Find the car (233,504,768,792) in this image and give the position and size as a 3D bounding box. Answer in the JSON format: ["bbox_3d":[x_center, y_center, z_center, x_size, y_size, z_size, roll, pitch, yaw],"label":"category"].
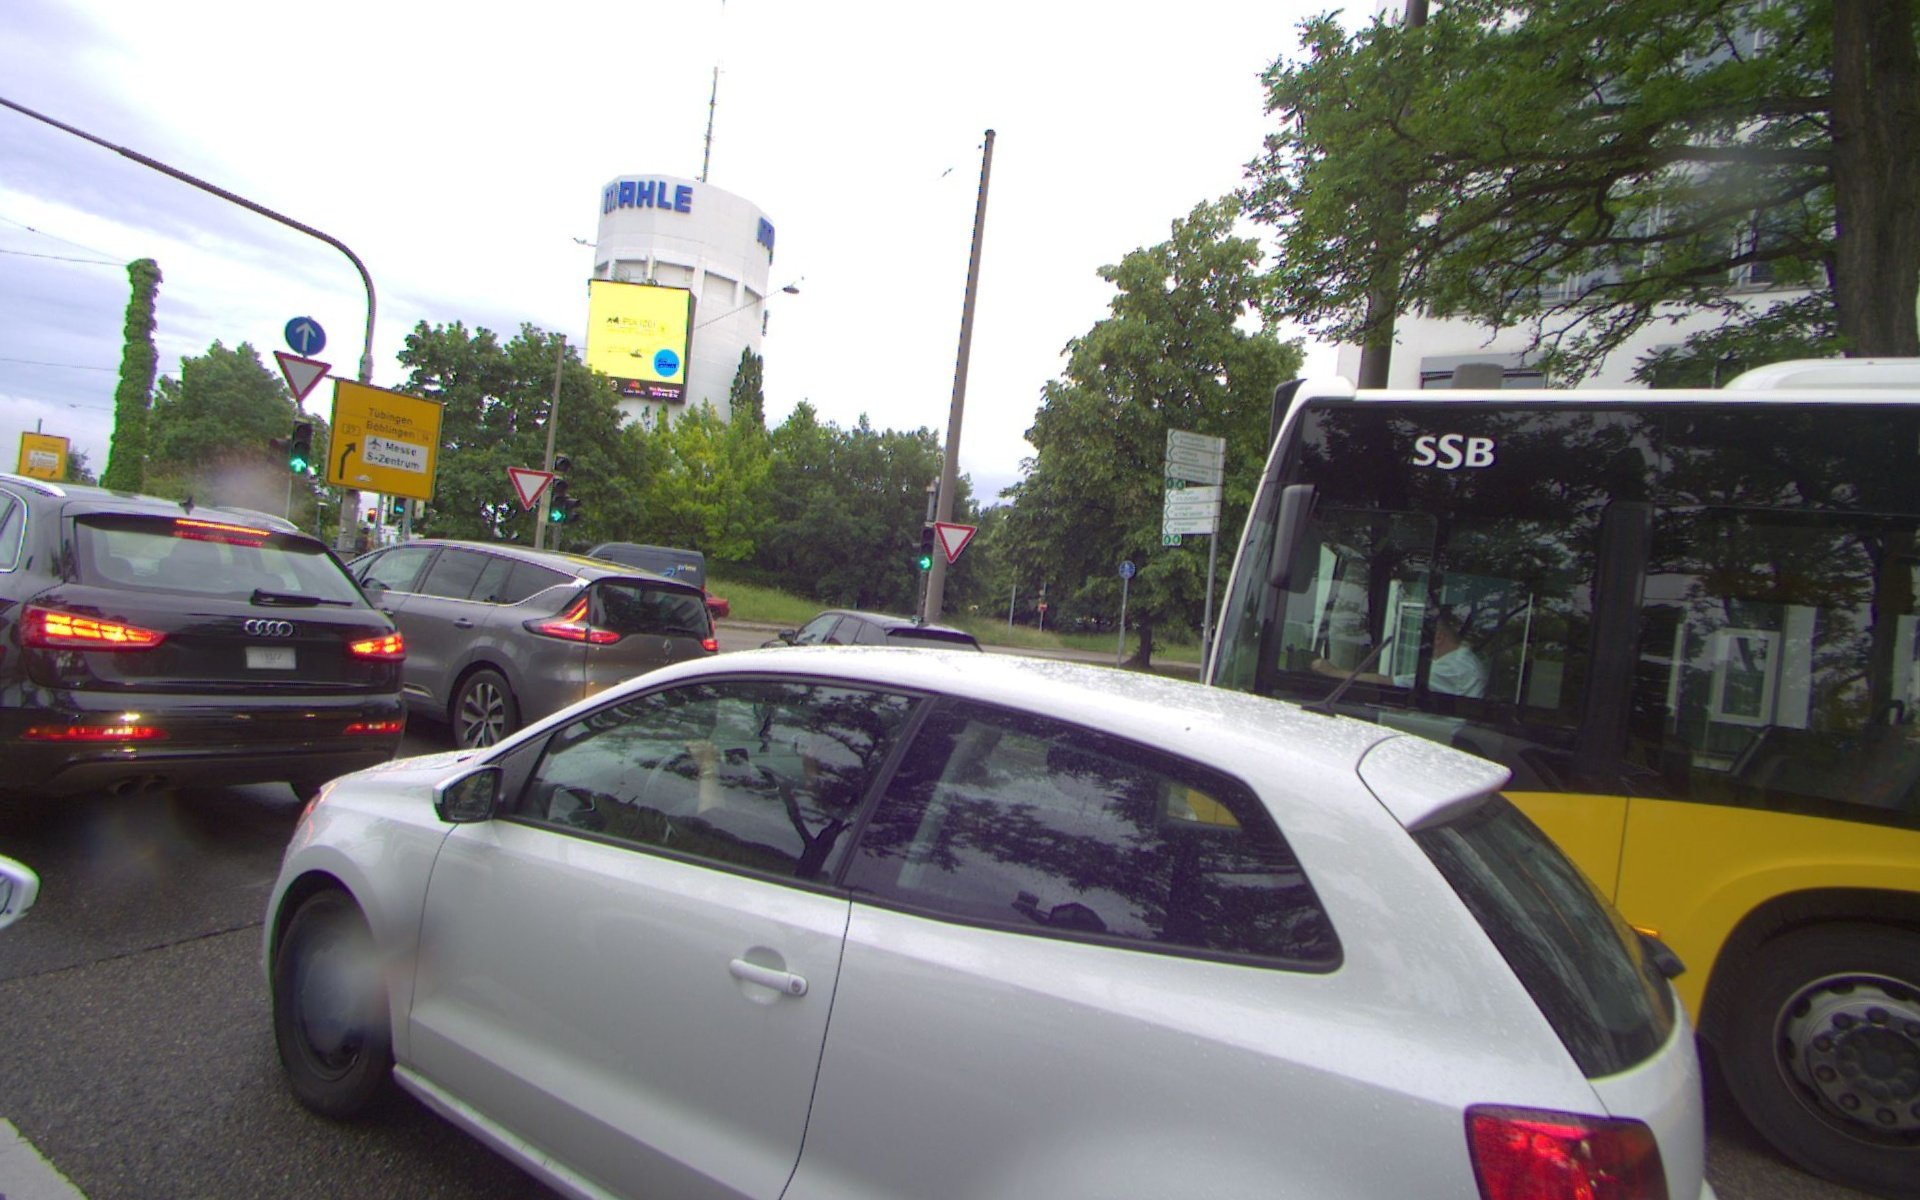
[{"bbox_3d":[-4.116,0.305,8.822,4.488,1.694,1.869,8,-1,30],"label":"car"}]

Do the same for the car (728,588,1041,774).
[{"bbox_3d":[-1.085,0.846,11.894,1.852,1.516,4.115,7,0,-32],"label":"car"}]

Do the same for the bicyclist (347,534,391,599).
[{"bbox_3d":[-15.725,-0.889,26.764,0.803,1.602,1.015,9,-2,-32],"label":"bicyclist"}]

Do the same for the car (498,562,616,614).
[{"bbox_3d":[-16.804,-0.482,42.015,4.112,1.582,1.852,9,-2,-38],"label":"car"}]

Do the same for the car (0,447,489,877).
[{"bbox_3d":[-4.817,0.159,5.599,4.045,1.613,1.889,6,-3,31],"label":"car"}]

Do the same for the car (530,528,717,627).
[{"bbox_3d":[-12.322,-0.746,37.029,5.972,2.772,2.065,8,-3,-33],"label":"car"}]

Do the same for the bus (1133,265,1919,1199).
[{"bbox_3d":[6.779,0.933,2.855,11.943,3.187,2.733,7,-2,32],"label":"bus"}]

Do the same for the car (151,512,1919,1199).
[{"bbox_3d":[-0.255,0.725,2.749,3.748,1.448,1.745,6,-3,31],"label":"car"}]

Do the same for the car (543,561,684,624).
[{"bbox_3d":[-11.701,-0.231,34.052,4.027,1.586,1.854,9,-4,-36],"label":"car"}]

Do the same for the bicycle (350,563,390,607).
[{"bbox_3d":[-15.794,-0.424,26.903,0.802,1.035,2.310,6,-1,-31],"label":"bicycle"}]
